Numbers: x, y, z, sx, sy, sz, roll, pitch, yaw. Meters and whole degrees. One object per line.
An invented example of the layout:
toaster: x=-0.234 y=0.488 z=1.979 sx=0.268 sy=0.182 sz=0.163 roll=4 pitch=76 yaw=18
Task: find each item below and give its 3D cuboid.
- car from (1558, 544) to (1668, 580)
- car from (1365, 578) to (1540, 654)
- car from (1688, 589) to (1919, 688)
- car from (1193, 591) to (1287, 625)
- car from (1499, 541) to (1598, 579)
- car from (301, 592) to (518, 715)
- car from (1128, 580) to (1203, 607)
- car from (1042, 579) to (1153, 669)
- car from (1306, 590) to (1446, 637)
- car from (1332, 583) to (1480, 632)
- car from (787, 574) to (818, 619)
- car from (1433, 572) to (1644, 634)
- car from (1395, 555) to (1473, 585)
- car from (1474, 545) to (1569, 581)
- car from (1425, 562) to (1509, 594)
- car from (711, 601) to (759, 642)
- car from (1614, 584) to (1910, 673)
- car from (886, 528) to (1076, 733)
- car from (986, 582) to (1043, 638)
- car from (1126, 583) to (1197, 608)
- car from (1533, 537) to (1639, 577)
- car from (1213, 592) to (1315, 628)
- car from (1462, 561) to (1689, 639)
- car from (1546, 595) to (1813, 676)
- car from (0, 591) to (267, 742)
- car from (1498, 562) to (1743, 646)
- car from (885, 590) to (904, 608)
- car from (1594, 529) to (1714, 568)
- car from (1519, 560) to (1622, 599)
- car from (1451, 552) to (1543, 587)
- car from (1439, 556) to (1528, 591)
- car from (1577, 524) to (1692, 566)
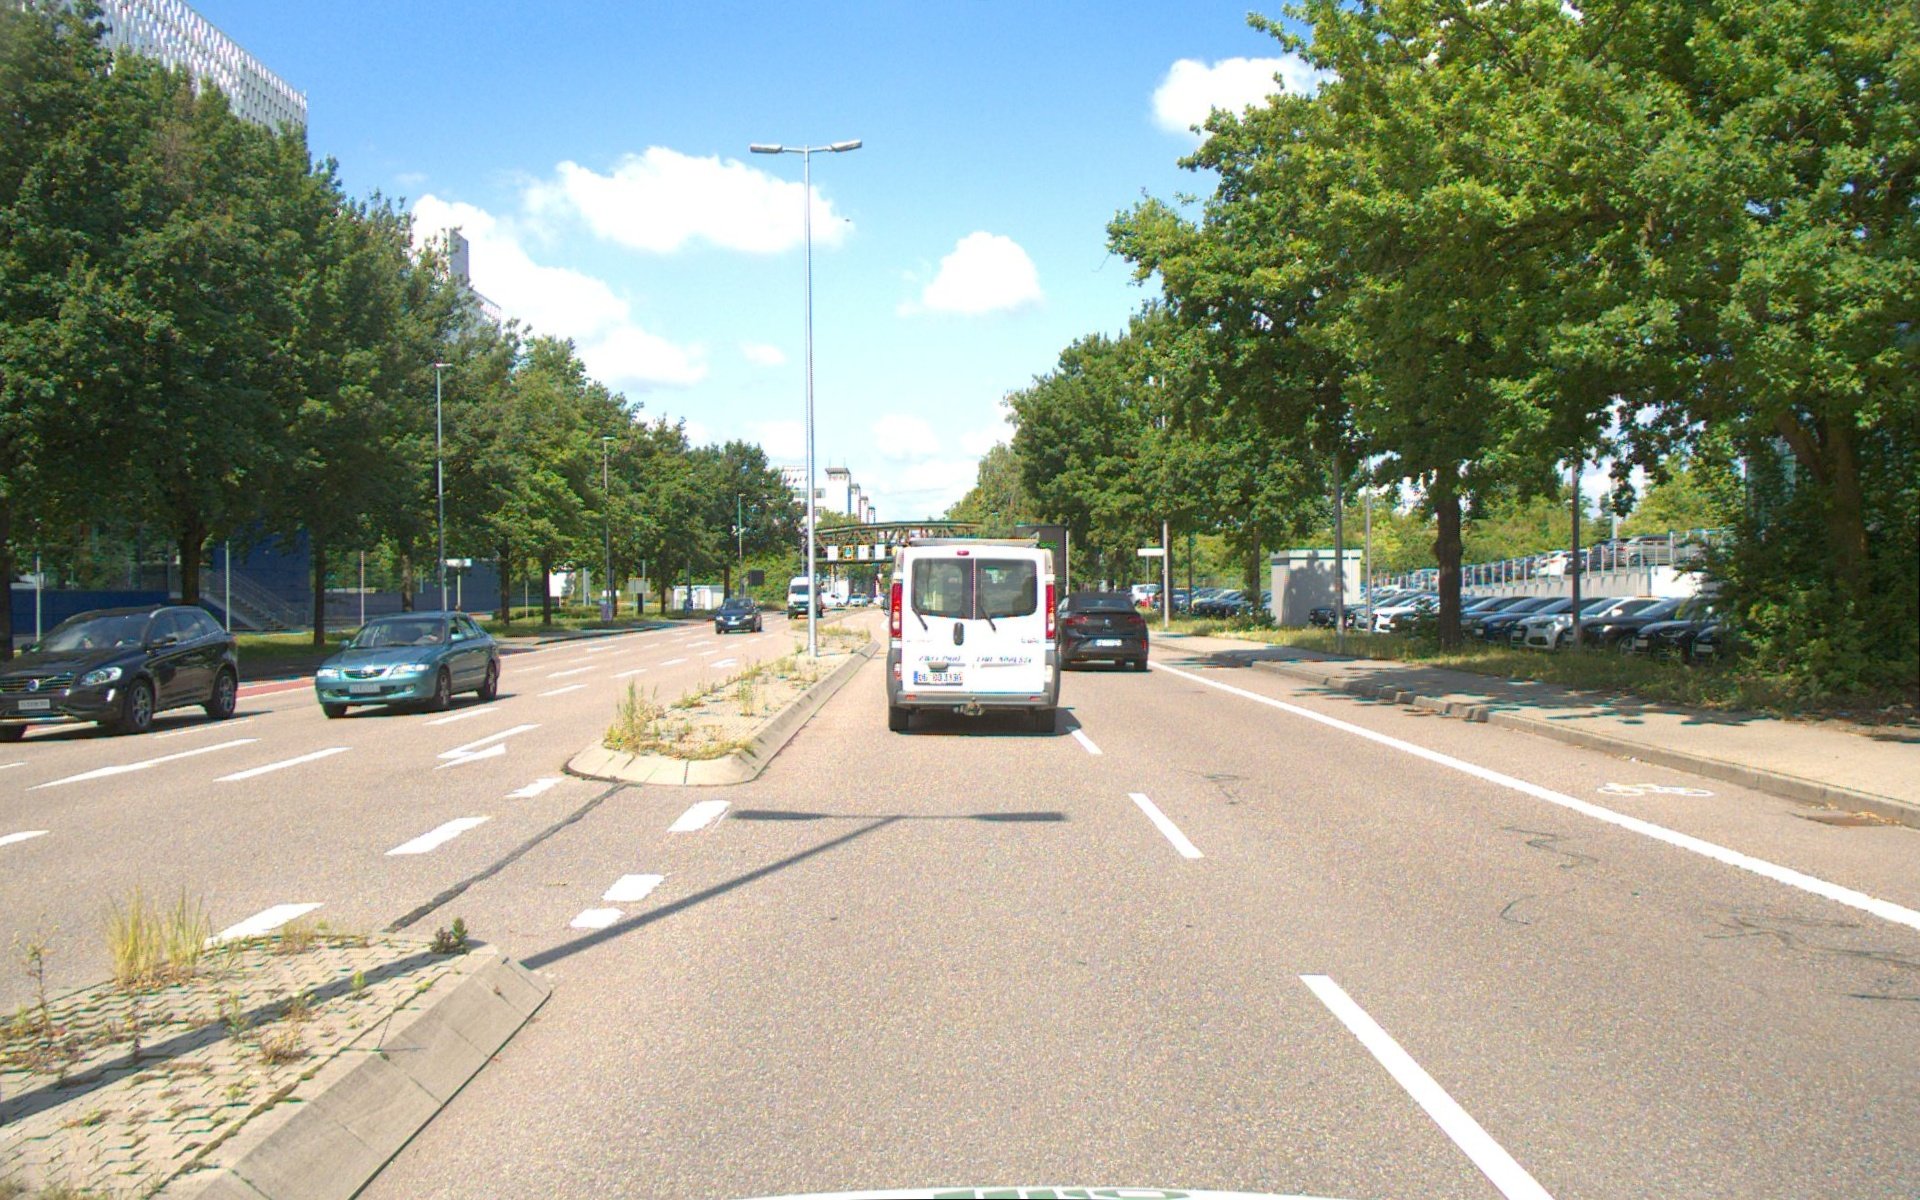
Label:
car: x=29.621 y=-1.752 z=75.113 sx=4.264 sy=1.578 sz=1.937 roll=1 pitch=2 yaw=2
car: x=14.213 y=0.451 z=47.896 sx=4.482 sy=2.084 sz=1.907 roll=0 pitch=2 yaw=-2
car: x=14.544 y=0.599 z=26.998 sx=4.482 sy=1.525 sz=1.907 roll=-1 pitch=0 yaw=-2
car: x=13.688 y=0.379 z=81.004 sx=4.268 sy=1.539 sz=1.935 roll=0 pitch=2 yaw=-3
car: x=29.343 y=-2.006 z=82.602 sx=4.264 sy=1.805 sz=1.937 roll=1 pitch=2 yaw=2
car: x=-8.136 y=0.714 z=24.934 sx=1.737 sy=1.575 sz=4.819 roll=-3 pitch=0 yaw=-2
car: x=12.607 y=-0.391 z=101.611 sx=4.268 sy=1.539 sz=1.935 roll=0 pitch=2 yaw=-3
car: x=2.714 y=0.435 z=33.367 sx=1.738 sy=1.657 sz=3.998 roll=0 pitch=1 yaw=-3
car: x=14.081 y=0.447 z=56.092 sx=4.266 sy=1.539 sz=1.855 roll=-1 pitch=0 yaw=-1
car: x=13.624 y=0.222 z=50.657 sx=4.024 sy=1.428 sz=1.817 roll=-1 pitch=0 yaw=-2
car: x=-10.718 y=-0.253 z=112.688 sx=1.984 sy=2.944 sz=6.375 roll=-1 pitch=0 yaw=-5
car: x=14.058 y=0.054 z=40.376 sx=4.482 sy=1.429 sz=1.907 roll=0 pitch=2 yaw=-2
car: x=29.067 y=-1.837 z=101.468 sx=4.264 sy=1.805 sz=1.937 roll=1 pitch=2 yaw=2
car: x=28.981 y=-1.922 z=85.406 sx=4.264 sy=1.805 sz=1.937 roll=1 pitch=2 yaw=2
car: x=29.404 y=-1.284 z=96.025 sx=4.264 sy=1.805 sz=1.937 roll=1 pitch=2 yaw=2
car: x=-10.037 y=0.917 z=73.895 sx=1.704 sy=1.638 sz=4.238 roll=-4 pitch=0 yaw=-3
car: x=14.569 y=0.502 z=30.210 sx=4.482 sy=1.525 sz=1.907 roll=-1 pitch=0 yaw=-2
car: x=0.221 y=0.257 z=19.157 sx=1.932 sy=2.095 sz=4.565 roll=0 pitch=1 yaw=0
car: x=1.709 y=0.279 z=52.608 sx=1.737 sy=1.657 sz=4.001 roll=0 pitch=1 yaw=1
car: x=12.773 y=-0.283 z=105.033 sx=4.268 sy=1.539 sz=1.935 roll=0 pitch=2 yaw=-3
car: x=29.375 y=-2.032 z=77.683 sx=4.264 sy=1.805 sz=1.937 roll=1 pitch=2 yaw=2
car: x=13.874 y=0.444 z=75.694 sx=4.268 sy=1.539 sz=1.935 roll=0 pitch=2 yaw=-3
car: x=14.052 y=-0.021 z=37.919 sx=4.482 sy=1.707 sz=1.907 roll=0 pitch=2 yaw=-2
car: x=14.175 y=0.683 z=32.753 sx=4.482 sy=1.525 sz=1.907 roll=-1 pitch=0 yaw=-2
car: x=-11.432 y=0.817 z=22.688 sx=1.889 sy=1.786 sz=4.819 roll=-3 pitch=0 yaw=-2
car: x=14.109 y=0.062 z=35.504 sx=4.482 sy=1.707 sz=1.907 roll=0 pitch=2 yaw=-2
car: x=-7.407 y=-0.123 z=187.525 sx=1.953 sy=1.802 sz=4.001 roll=0 pitch=2 yaw=0
car: x=29.393 y=-2.201 z=70.166 sx=4.264 sy=1.578 sz=1.937 roll=1 pitch=2 yaw=2
car: x=29.500 y=-1.008 z=79.987 sx=4.264 sy=1.805 sz=1.937 roll=1 pitch=2 yaw=2
car: x=28.504 y=-1.647 z=87.876 sx=4.264 sy=1.805 sz=1.937 roll=1 pitch=2 yaw=2
car: x=28.668 y=-1.463 z=90.645 sx=4.264 sy=1.805 sz=1.937 roll=1 pitch=2 yaw=2
car: x=29.530 y=-2.411 z=72.502 sx=4.264 sy=1.805 sz=1.937 roll=1 pitch=2 yaw=2
